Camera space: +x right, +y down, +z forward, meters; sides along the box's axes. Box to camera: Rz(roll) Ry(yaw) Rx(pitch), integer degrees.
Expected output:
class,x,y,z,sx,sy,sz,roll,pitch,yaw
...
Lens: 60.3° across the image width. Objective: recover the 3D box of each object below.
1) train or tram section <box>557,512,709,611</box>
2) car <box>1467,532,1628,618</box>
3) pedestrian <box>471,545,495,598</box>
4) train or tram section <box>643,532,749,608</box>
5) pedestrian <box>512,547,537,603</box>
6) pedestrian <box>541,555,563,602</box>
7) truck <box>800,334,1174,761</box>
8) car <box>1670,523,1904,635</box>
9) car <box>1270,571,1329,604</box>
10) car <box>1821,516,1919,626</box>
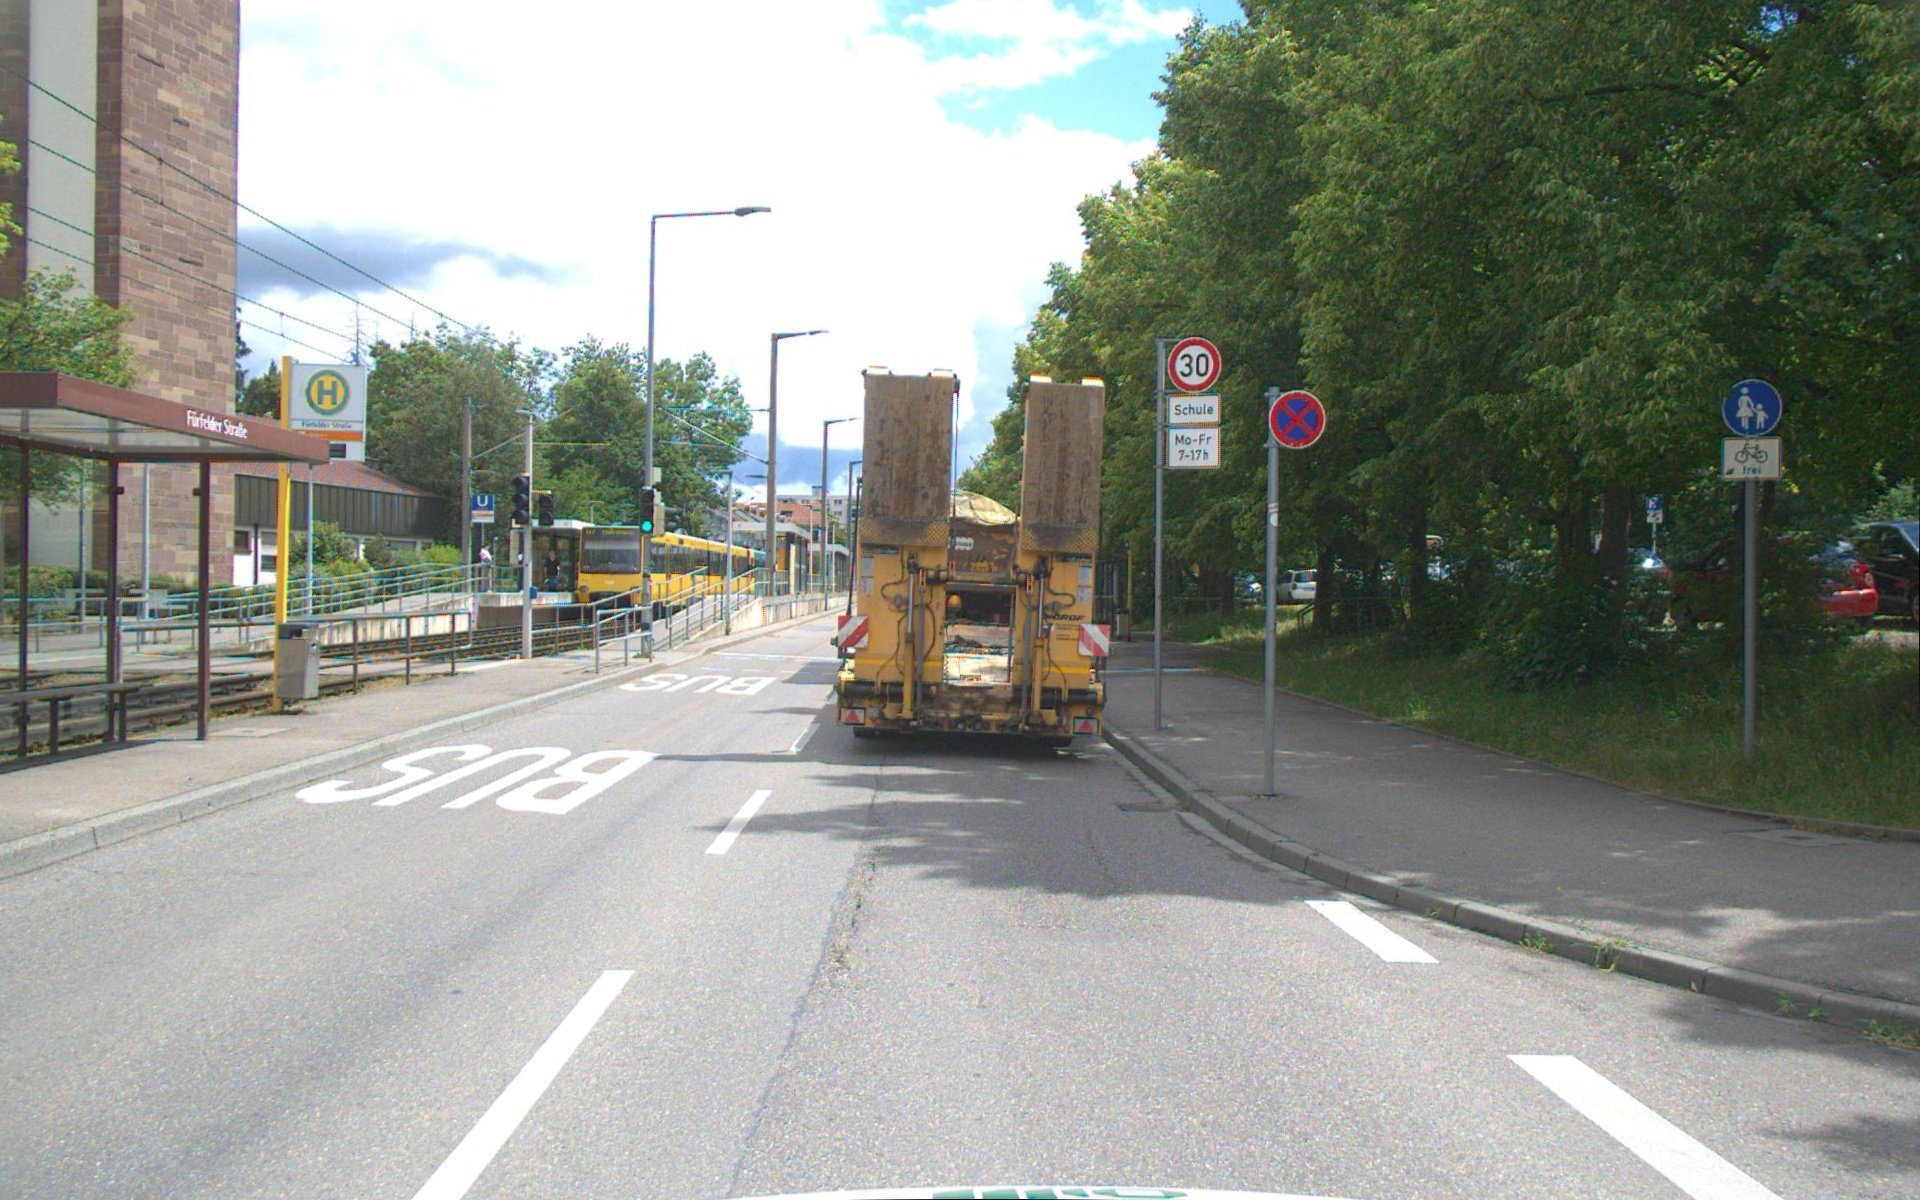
class,x,y,z,sx,sy,sz,roll,pitch,yaw
train or tram section,-13.442,-1.422,70.231,3.045,3.525,18.820,3,0,-1
car,11.604,-0.468,32.951,1.594,1.541,4.137,-3,0,-1
pedestrian,-16.478,-0.991,57.155,0.572,1.809,0.576,3,0,-1
train or tram section,-13.924,-1.433,89.152,3.045,3.525,18.990,3,0,-1
pedestrian,-16.220,-0.932,61.645,0.698,2.049,0.731,3,0,-4
pedestrian,-15.496,-0.820,62.860,0.626,1.737,0.645,3,0,-1
truck,-0.185,-0.480,21.820,3.335,3.797,13.728,1,0,-4
car,12.440,-0.299,25.128,1.627,1.527,3.661,-2,0,-1
car,15.733,-0.575,76.735,1.803,1.445,4.122,-1,0,-1
car,14.846,-0.445,24.944,1.717,1.610,3.661,-2,0,-1
